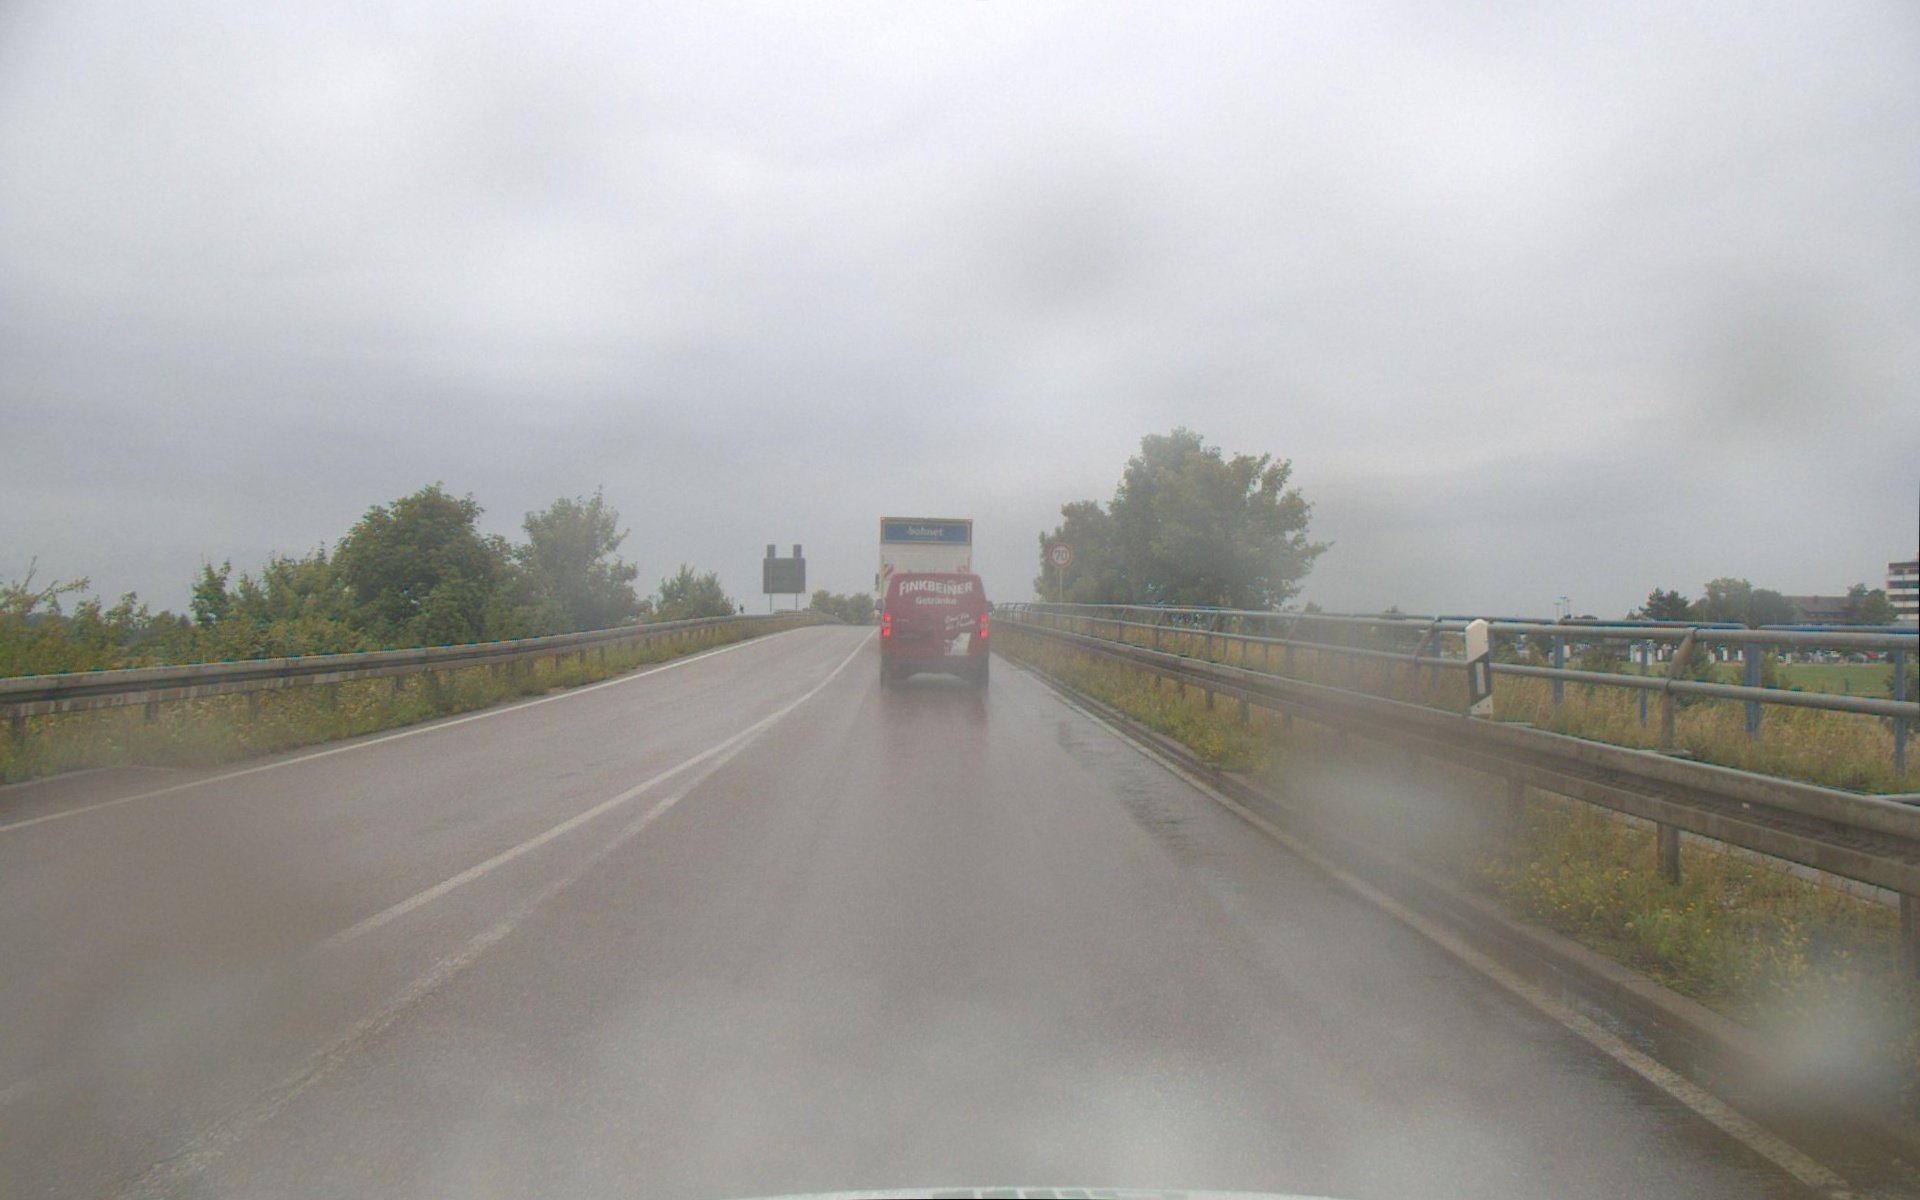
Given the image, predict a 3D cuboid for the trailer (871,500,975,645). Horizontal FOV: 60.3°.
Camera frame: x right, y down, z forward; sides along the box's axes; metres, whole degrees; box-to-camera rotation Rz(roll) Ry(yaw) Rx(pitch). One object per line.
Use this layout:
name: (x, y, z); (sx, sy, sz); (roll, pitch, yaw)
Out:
trailer: (-1.027, -0.638, 49.243); (2.774, 3.886, 9.712); (0, -1, 0)

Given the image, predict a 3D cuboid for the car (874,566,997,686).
car: (-0.415, 0.450, 29.060); (1.953, 1.903, 4.977); (-1, -1, -1)
